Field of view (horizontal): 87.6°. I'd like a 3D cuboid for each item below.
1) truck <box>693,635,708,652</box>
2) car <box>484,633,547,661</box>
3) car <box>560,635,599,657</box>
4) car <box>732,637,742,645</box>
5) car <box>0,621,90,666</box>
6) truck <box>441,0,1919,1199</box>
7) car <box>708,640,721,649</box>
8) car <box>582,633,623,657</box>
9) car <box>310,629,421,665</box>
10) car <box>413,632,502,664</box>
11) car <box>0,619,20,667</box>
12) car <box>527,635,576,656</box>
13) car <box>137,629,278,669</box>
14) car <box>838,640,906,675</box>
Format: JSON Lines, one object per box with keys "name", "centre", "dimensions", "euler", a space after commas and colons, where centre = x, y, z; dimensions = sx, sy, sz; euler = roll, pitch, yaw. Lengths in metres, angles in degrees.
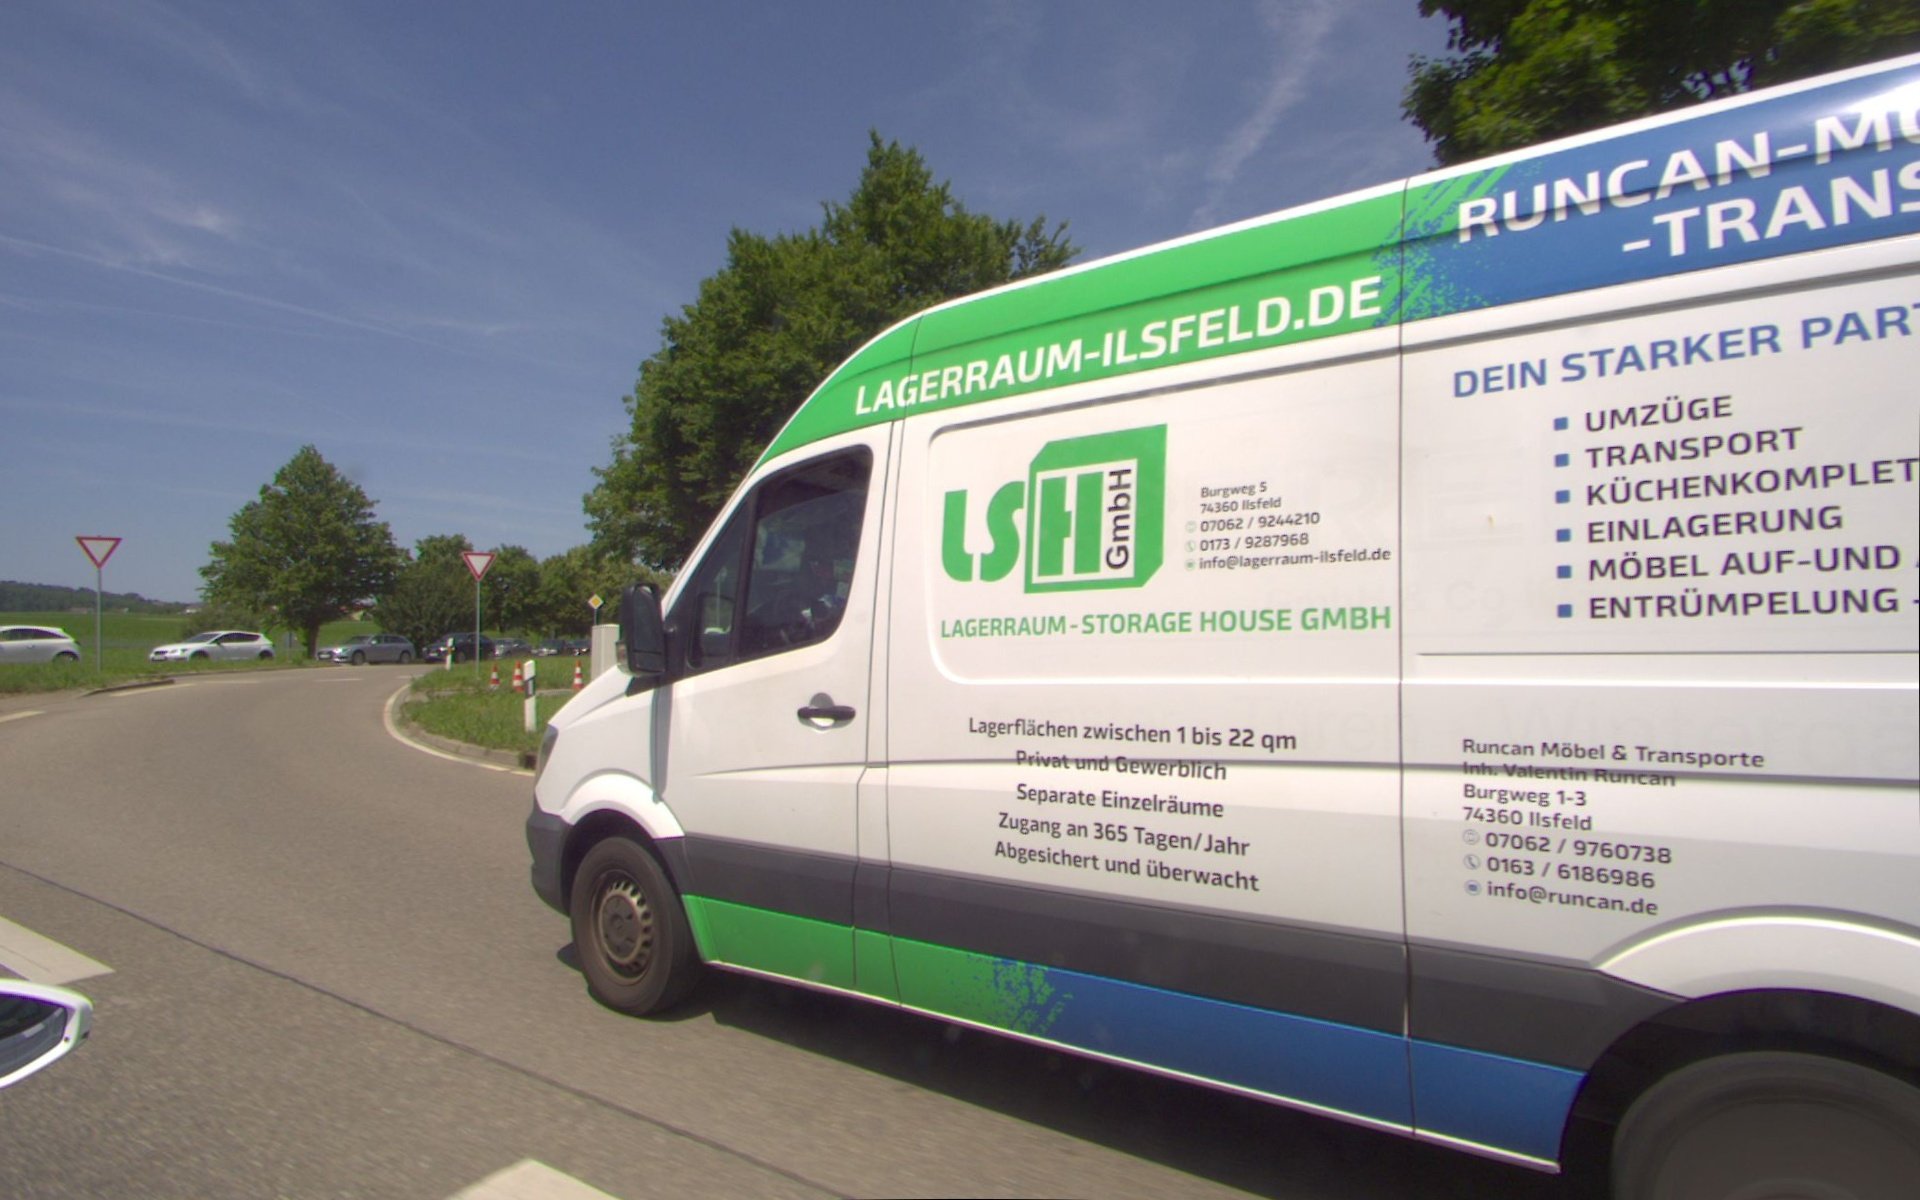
{"name": "truck", "centre": [-41.489, 6.935, 159.991], "dimensions": [1.962, 2.630, 4.000], "euler": [0, -2, -9]}
{"name": "car", "centre": [-25.566, 2.734, 57.775], "dimensions": [1.766, 1.529, 4.565], "euler": [-1, -3, -2]}
{"name": "car", "centre": [-26.870, 3.249, 70.772], "dimensions": [1.767, 1.529, 4.233], "euler": [0, -3, -9]}
{"name": "car", "centre": [-48.623, 8.875, 218.372], "dimensions": [1.962, 1.669, 4.000], "euler": [0, -2, -9]}
{"name": "car", "centre": [-30.692, 1.396, 32.034], "dimensions": [1.798, 1.437, 3.963], "euler": [-2, -2, 23]}
{"name": "truck", "centre": [0.658, 0.141, 3.665], "dimensions": [5.863, 2.772, 2.061], "euler": [-2, -2, 35]}
{"name": "car", "centre": [-44.674, 8.157, 182.296], "dimensions": [1.962, 1.669, 4.000], "euler": [0, -2, -9]}
{"name": "car", "centre": [-27.255, 3.424, 76.450], "dimensions": [1.962, 1.719, 4.293], "euler": [0, -2, -7]}
{"name": "car", "centre": [-26.699, 2.133, 45.191], "dimensions": [1.766, 1.528, 4.564], "euler": [-1, -3, 10]}
{"name": "car", "centre": [-25.468, 2.486, 50.943], "dimensions": [1.766, 1.528, 4.565], "euler": [-1, -4, 8]}
{"name": "car", "centre": [-34.639, 1.423, 33.221], "dimensions": [1.968, 1.627, 4.626], "euler": [-2, -4, 27]}
{"name": "car", "centre": [-26.252, 2.957, 64.433], "dimensions": [1.766, 1.289, 4.563], "euler": [0, -3, -7]}
{"name": "car", "centre": [-28.804, 1.844, 38.490], "dimensions": [1.768, 1.437, 4.103], "euler": [-1, -2, 15]}
{"name": "car", "centre": [-3.803, 2.424, 42.713], "dimensions": [1.730, 1.380, 4.311], "euler": [0, -3, -21]}
